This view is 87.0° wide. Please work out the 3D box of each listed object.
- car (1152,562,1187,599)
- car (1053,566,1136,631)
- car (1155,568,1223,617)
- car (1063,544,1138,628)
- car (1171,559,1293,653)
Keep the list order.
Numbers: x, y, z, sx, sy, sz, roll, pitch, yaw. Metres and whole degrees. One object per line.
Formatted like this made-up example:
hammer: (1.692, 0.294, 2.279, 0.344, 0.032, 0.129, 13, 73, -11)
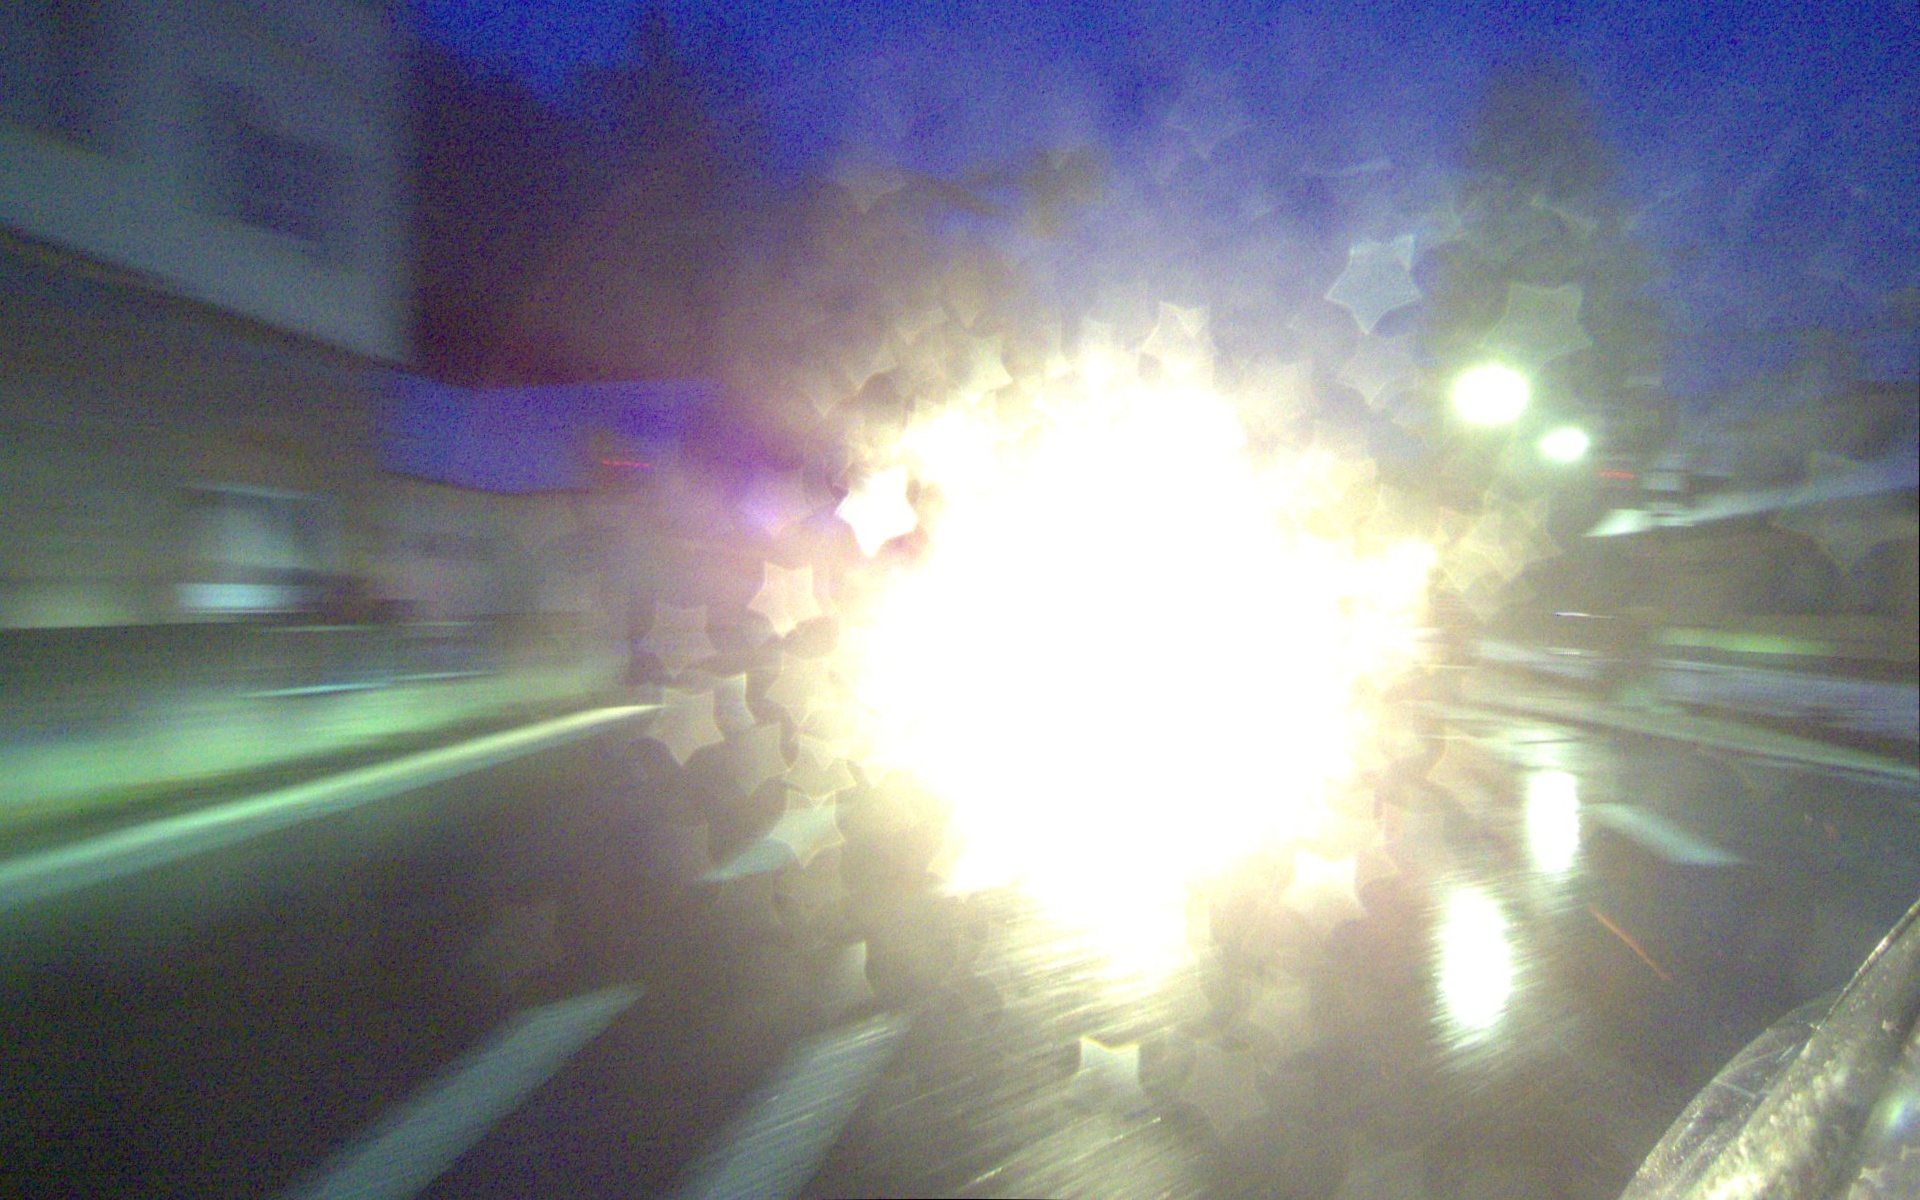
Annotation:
car: (11.661, -1.066, 56.510, 1.749, 1.971, 4.241, 2, 1, 11)
car: (3.559, 0.020, 26.321, 1.948, 1.536, 4.192, -1, -2, 10)
car: (7.604, -0.305, 33.977, 1.884, 1.529, 4.232, 1, 2, 8)
car: (4.553, -0.346, 32.250, 2.140, 2.473, 4.844, -1, -2, 10)
car: (5.534, 0.080, 21.064, 2.031, 1.699, 4.127, 2, 1, 10)
